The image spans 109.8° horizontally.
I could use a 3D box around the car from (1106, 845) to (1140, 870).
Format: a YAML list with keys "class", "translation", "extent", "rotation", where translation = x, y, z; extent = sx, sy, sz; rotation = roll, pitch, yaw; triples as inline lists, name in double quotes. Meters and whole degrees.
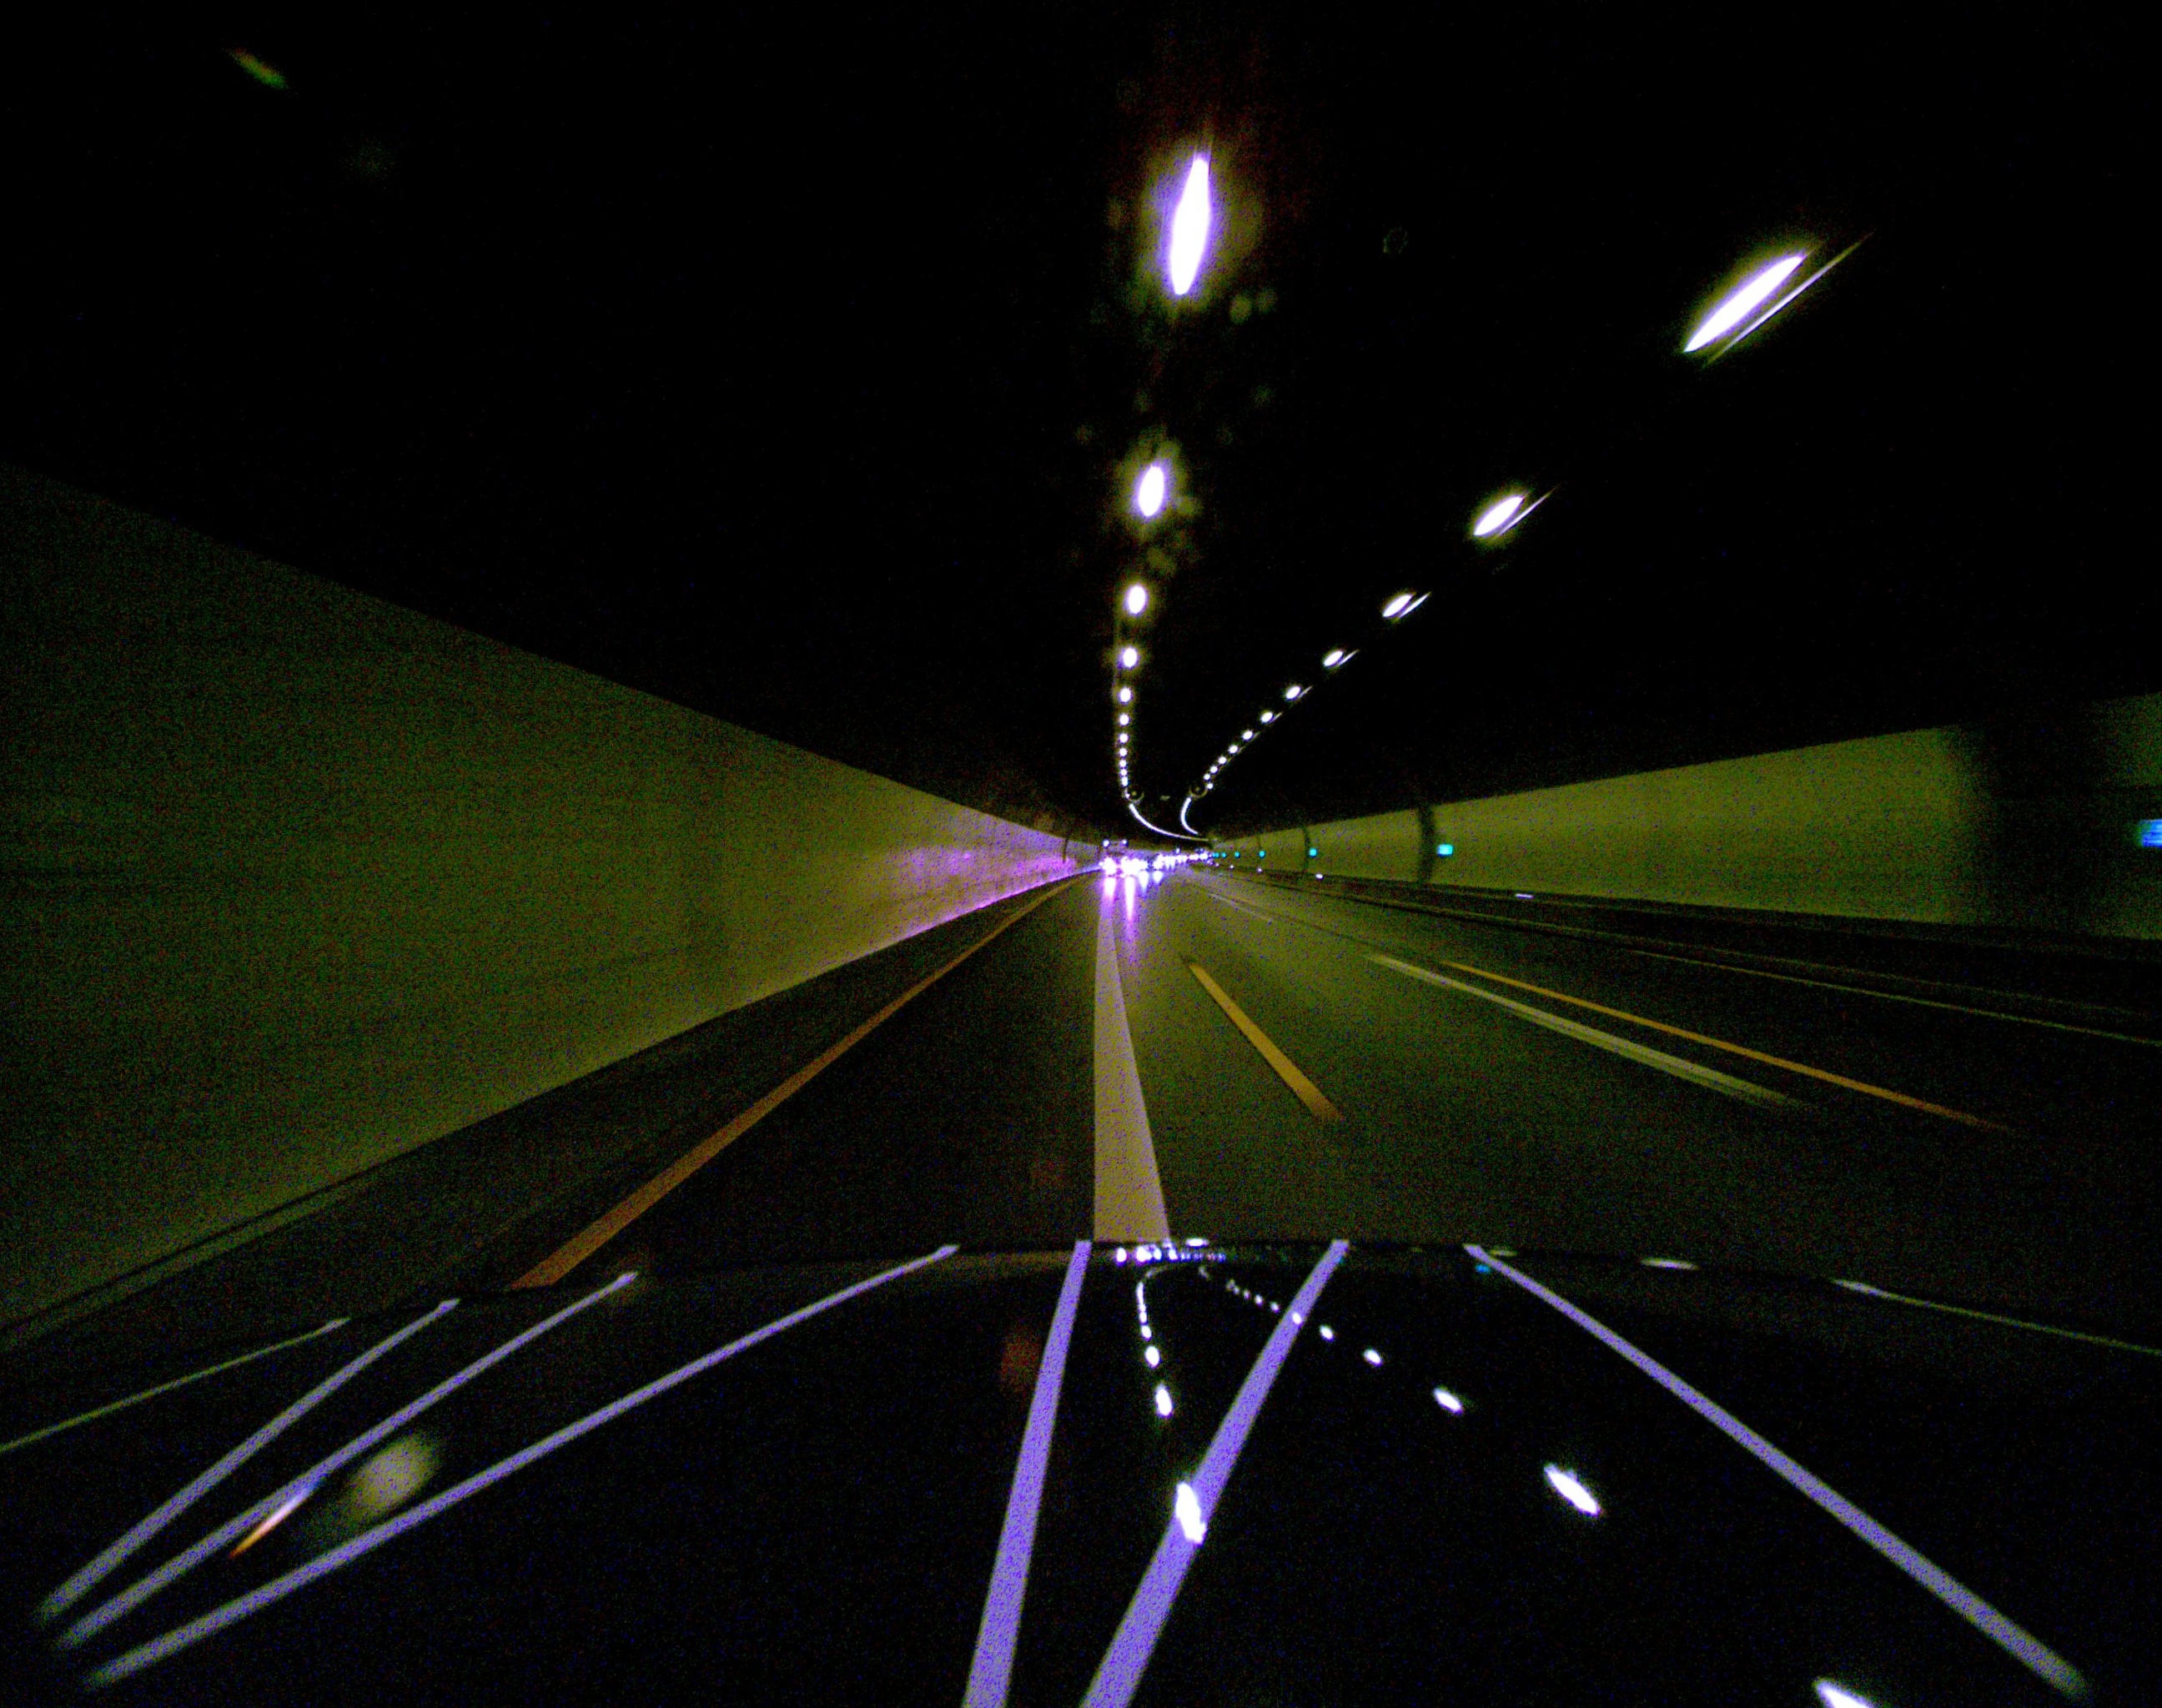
- class: "car"
  translation: [3.248, 0.259, 57.952]
  extent: [2.170, 1.709, 4.483]
  rotation: [-3, 0, 7]

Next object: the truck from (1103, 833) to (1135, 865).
- class: "truck"
  translation: [4.295, -0.498, 83.680]
  extent: [2.988, 3.161, 10.511]
  rotation: [-3, 0, 5]

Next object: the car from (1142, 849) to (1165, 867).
- class: "car"
  translation: [7.274, 0.373, 75.893]
  extent: [1.997, 1.655, 4.001]
  rotation: [-4, 1, 7]

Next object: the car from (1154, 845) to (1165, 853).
- class: "car"
  translation: [18.748, -1.210, 181.468]
  extent: [1.997, 1.917, 4.388]
  rotation: [-3, 0, 12]
